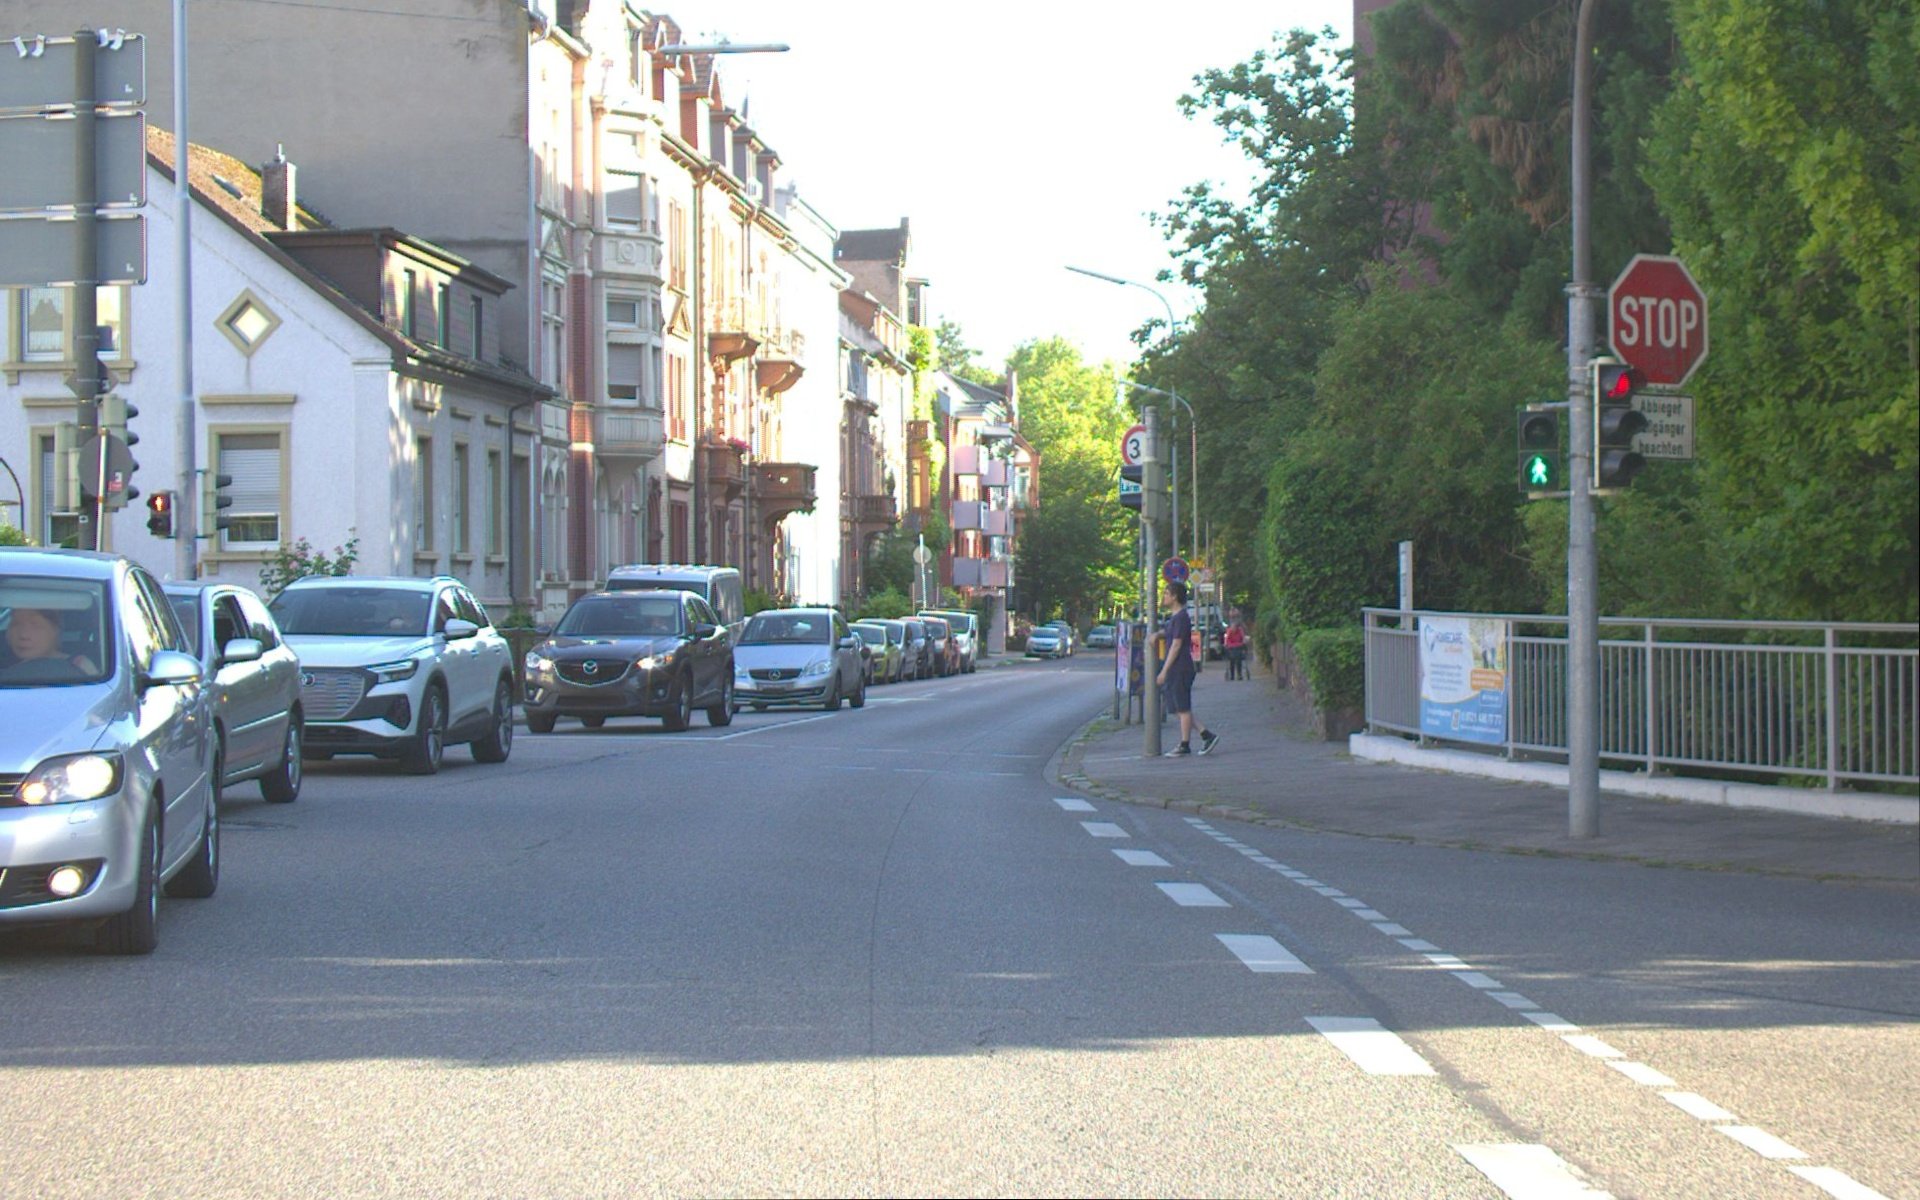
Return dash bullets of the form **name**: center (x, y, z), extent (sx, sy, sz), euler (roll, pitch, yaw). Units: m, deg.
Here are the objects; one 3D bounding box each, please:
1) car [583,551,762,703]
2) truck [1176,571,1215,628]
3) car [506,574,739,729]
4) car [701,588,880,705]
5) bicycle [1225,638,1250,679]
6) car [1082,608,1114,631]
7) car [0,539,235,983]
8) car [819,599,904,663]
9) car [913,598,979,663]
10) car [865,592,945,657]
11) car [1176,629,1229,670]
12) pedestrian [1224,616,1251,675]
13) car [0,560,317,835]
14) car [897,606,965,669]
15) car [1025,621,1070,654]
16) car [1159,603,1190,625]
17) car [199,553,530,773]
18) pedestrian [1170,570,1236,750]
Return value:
- **car**: center (-4.893, 0.428, 59.409), extent (2.068, 2.452, 6.013), euler (1, 0, 5)
- **truck**: center (12.341, -0.039, 180.009), extent (1.994, 2.887, 4.470), euler (-1, 1, 4)
- **car**: center (-3.904, 0.559, 40.451), extent (1.954, 1.643, 4.283), euler (1, 1, 5)
- **car**: center (-2.563, 0.677, 53.068), extent (1.954, 1.643, 4.282), euler (1, 1, 8)
- **bicycle**: center (6.704, 1.404, 83.023), extent (0.566, 0.967, 0.492), euler (1, 1, 4)
- **car**: center (9.574, 1.342, 238.101), extent (1.994, 1.486, 4.470), euler (-1, 1, 5)
- **car**: center (-4.027, 0.531, 14.012), extent (1.775, 1.537, 4.001), euler (1, 1, -8)
- **car**: center (-2.411, 0.788, 84.988), extent (1.702, 1.498, 4.072), euler (1, -1, 3)
- **car**: center (-0.421, 0.970, 110.796), extent (1.793, 2.003, 4.697), euler (1, 0, 3)
- **car**: center (-1.476, 0.648, 93.879), extent (1.703, 1.702, 4.439), euler (1, 0, 5)
- **car**: center (9.809, 2.002, 138.796), extent (1.994, 1.512, 3.999), euler (-1, 1, 6)
- **pedestrian**: center (6.745, 1.103, 83.604), extent (0.598, 1.398, 0.668), euler (1, 1, 3)
- **car**: center (-5.181, 0.523, 21.211), extent (1.775, 1.475, 4.097), euler (1, 1, -2)
- **car**: center (-0.826, 1.081, 100.147), extent (1.702, 1.732, 3.856), euler (1, 0, 3)
- **car**: center (4.397, 1.866, 171.828), extent (1.994, 1.486, 4.470), euler (-1, 1, 5)
- **car**: center (15.231, 0.979, 243.886), extent (1.993, 1.486, 4.470), euler (-1, 1, 2)
- **car**: center (-4.870, 0.453, 28.741), extent (1.775, 1.643, 4.534), euler (1, 1, 2)
- **pedestrian**: center (2.316, 0.562, 32.816), extent (0.602, 1.687, 0.612), euler (-1, 1, 4)
